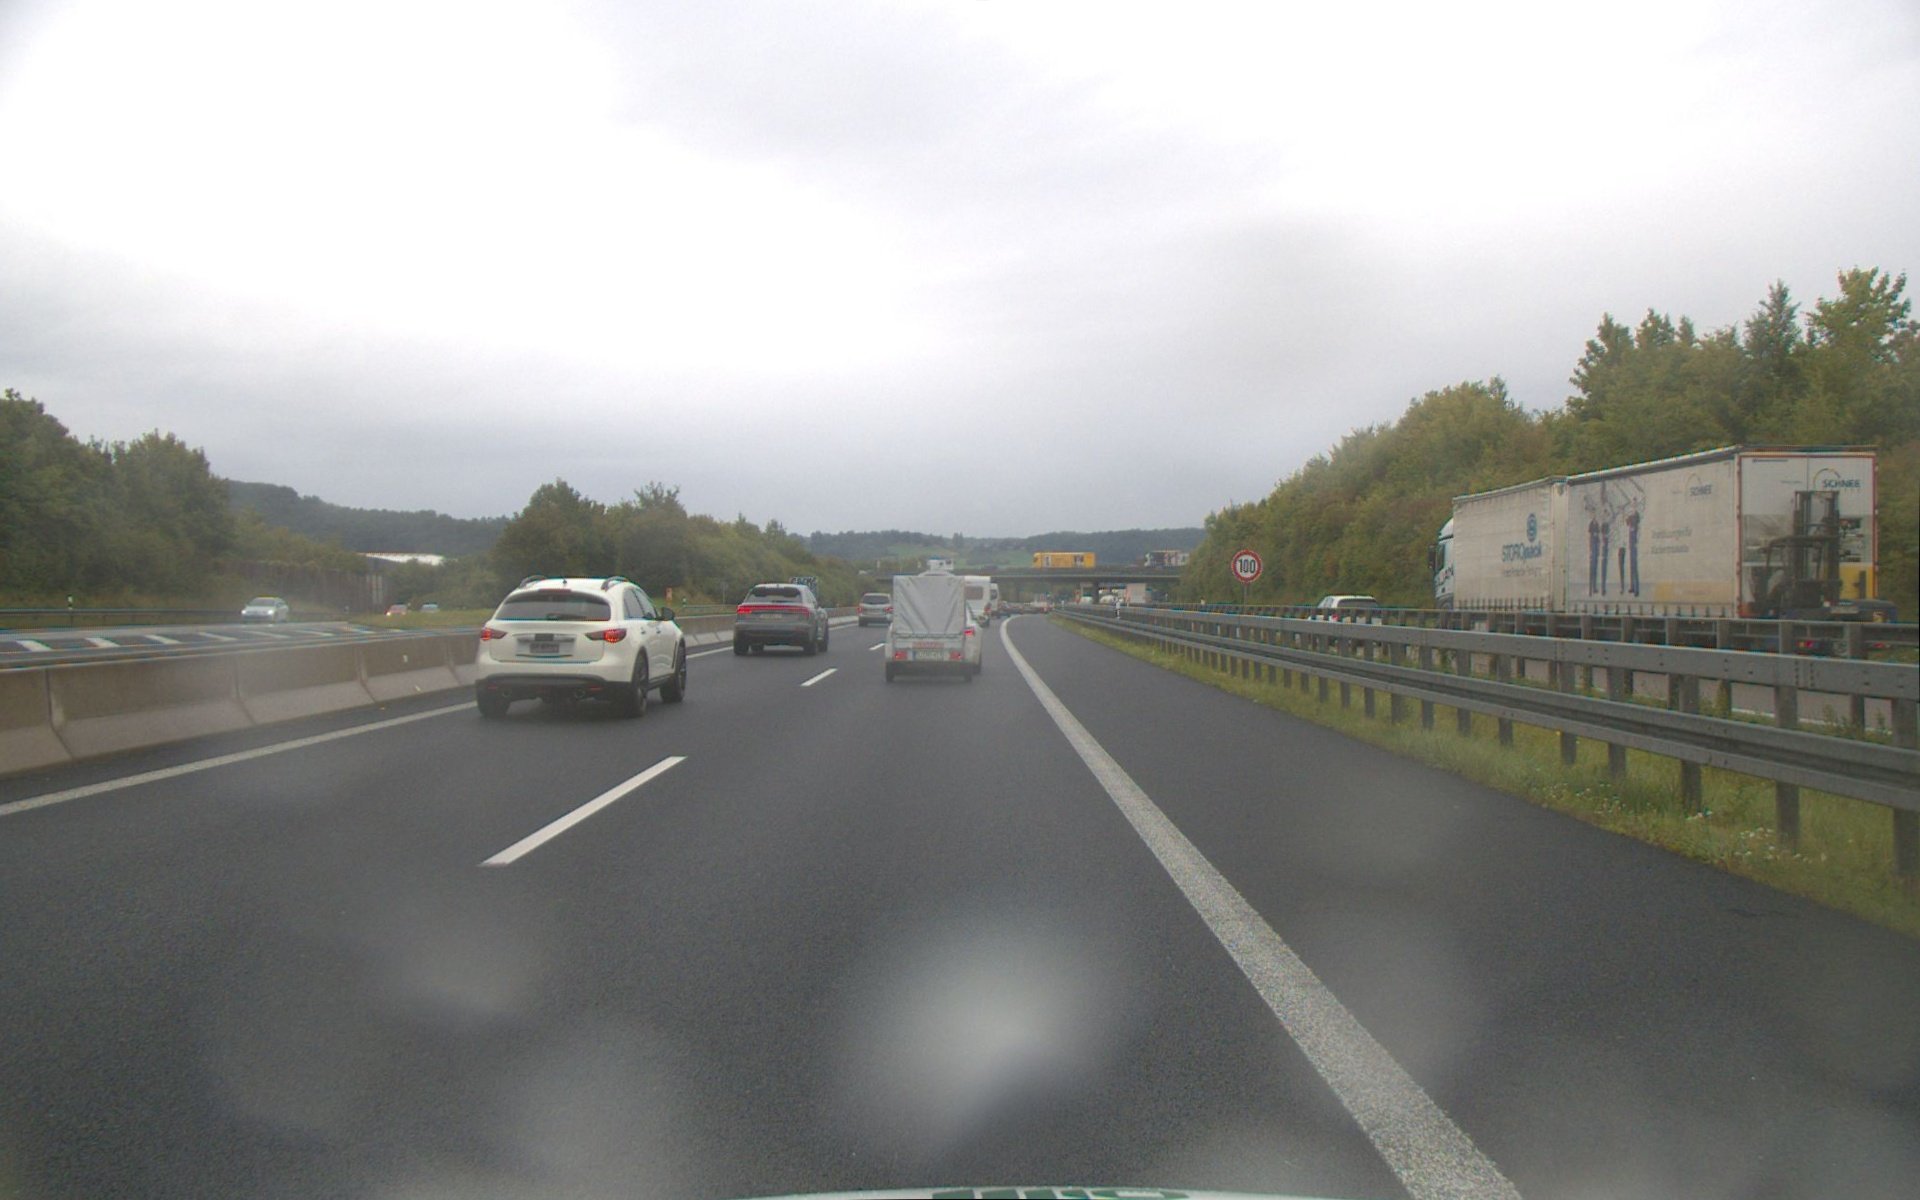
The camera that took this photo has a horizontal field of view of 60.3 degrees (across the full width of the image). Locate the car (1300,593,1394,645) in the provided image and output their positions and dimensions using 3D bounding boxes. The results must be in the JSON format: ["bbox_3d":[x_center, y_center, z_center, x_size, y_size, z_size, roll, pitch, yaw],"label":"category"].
[{"bbox_3d":[11.346,0.533,48.767,1.821,1.472,4.158,0,0,0],"label":"car"}]

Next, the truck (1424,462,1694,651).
[{"bbox_3d":[15.296,-1.041,43.413,3.366,4.364,10.418,0,0,0],"label":"truck"}]

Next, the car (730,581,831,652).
[{"bbox_3d":[-4.414,0.391,41.225,2.130,1.660,4.499,0,0,-1],"label":"car"}]

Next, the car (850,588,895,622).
[{"bbox_3d":[-4.285,0.211,81.834,1.861,1.641,4.018,0,0,2],"label":"car"}]

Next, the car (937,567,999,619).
[{"bbox_3d":[0.468,-0.386,87.186,2.953,2.662,6.077,0,0,3],"label":"car"}]

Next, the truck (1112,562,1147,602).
[{"bbox_3d":[22.590,-2.325,220.434,4.008,5.193,10.466,0,0,2],"label":"truck"}]

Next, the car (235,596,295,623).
[{"bbox_3d":[-39.203,0.516,93.417,2.139,1.455,4.379,0,0,-9],"label":"car"}]

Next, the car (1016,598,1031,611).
[{"bbox_3d":[9.055,0.636,235.471,1.952,1.780,4.002,1,0,3],"label":"car"}]

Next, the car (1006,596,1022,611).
[{"bbox_3d":[6.712,0.442,205.008,1.952,1.780,4.001,1,0,2],"label":"car"}]

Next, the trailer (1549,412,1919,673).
[{"bbox_3d":[15.244,-0.988,32.936,3.366,4.364,10.454,0,0,0],"label":"trailer"}]

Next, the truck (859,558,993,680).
[{"bbox_3d":[-0.489,0.299,31.081,1.977,2.020,7.216,0,0,3],"label":"truck"}]

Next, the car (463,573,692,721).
[{"bbox_3d":[-4.676,0.529,20.885,1.936,1.668,4.499,0,0,-1],"label":"car"}]

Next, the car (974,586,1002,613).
[{"bbox_3d":[2.193,-0.017,128.991,1.953,2.071,4.150,1,0,-2],"label":"car"}]

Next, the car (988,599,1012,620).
[{"bbox_3d":[3.553,0.858,148.722,1.953,1.780,3.999,1,0,-2],"label":"car"}]
